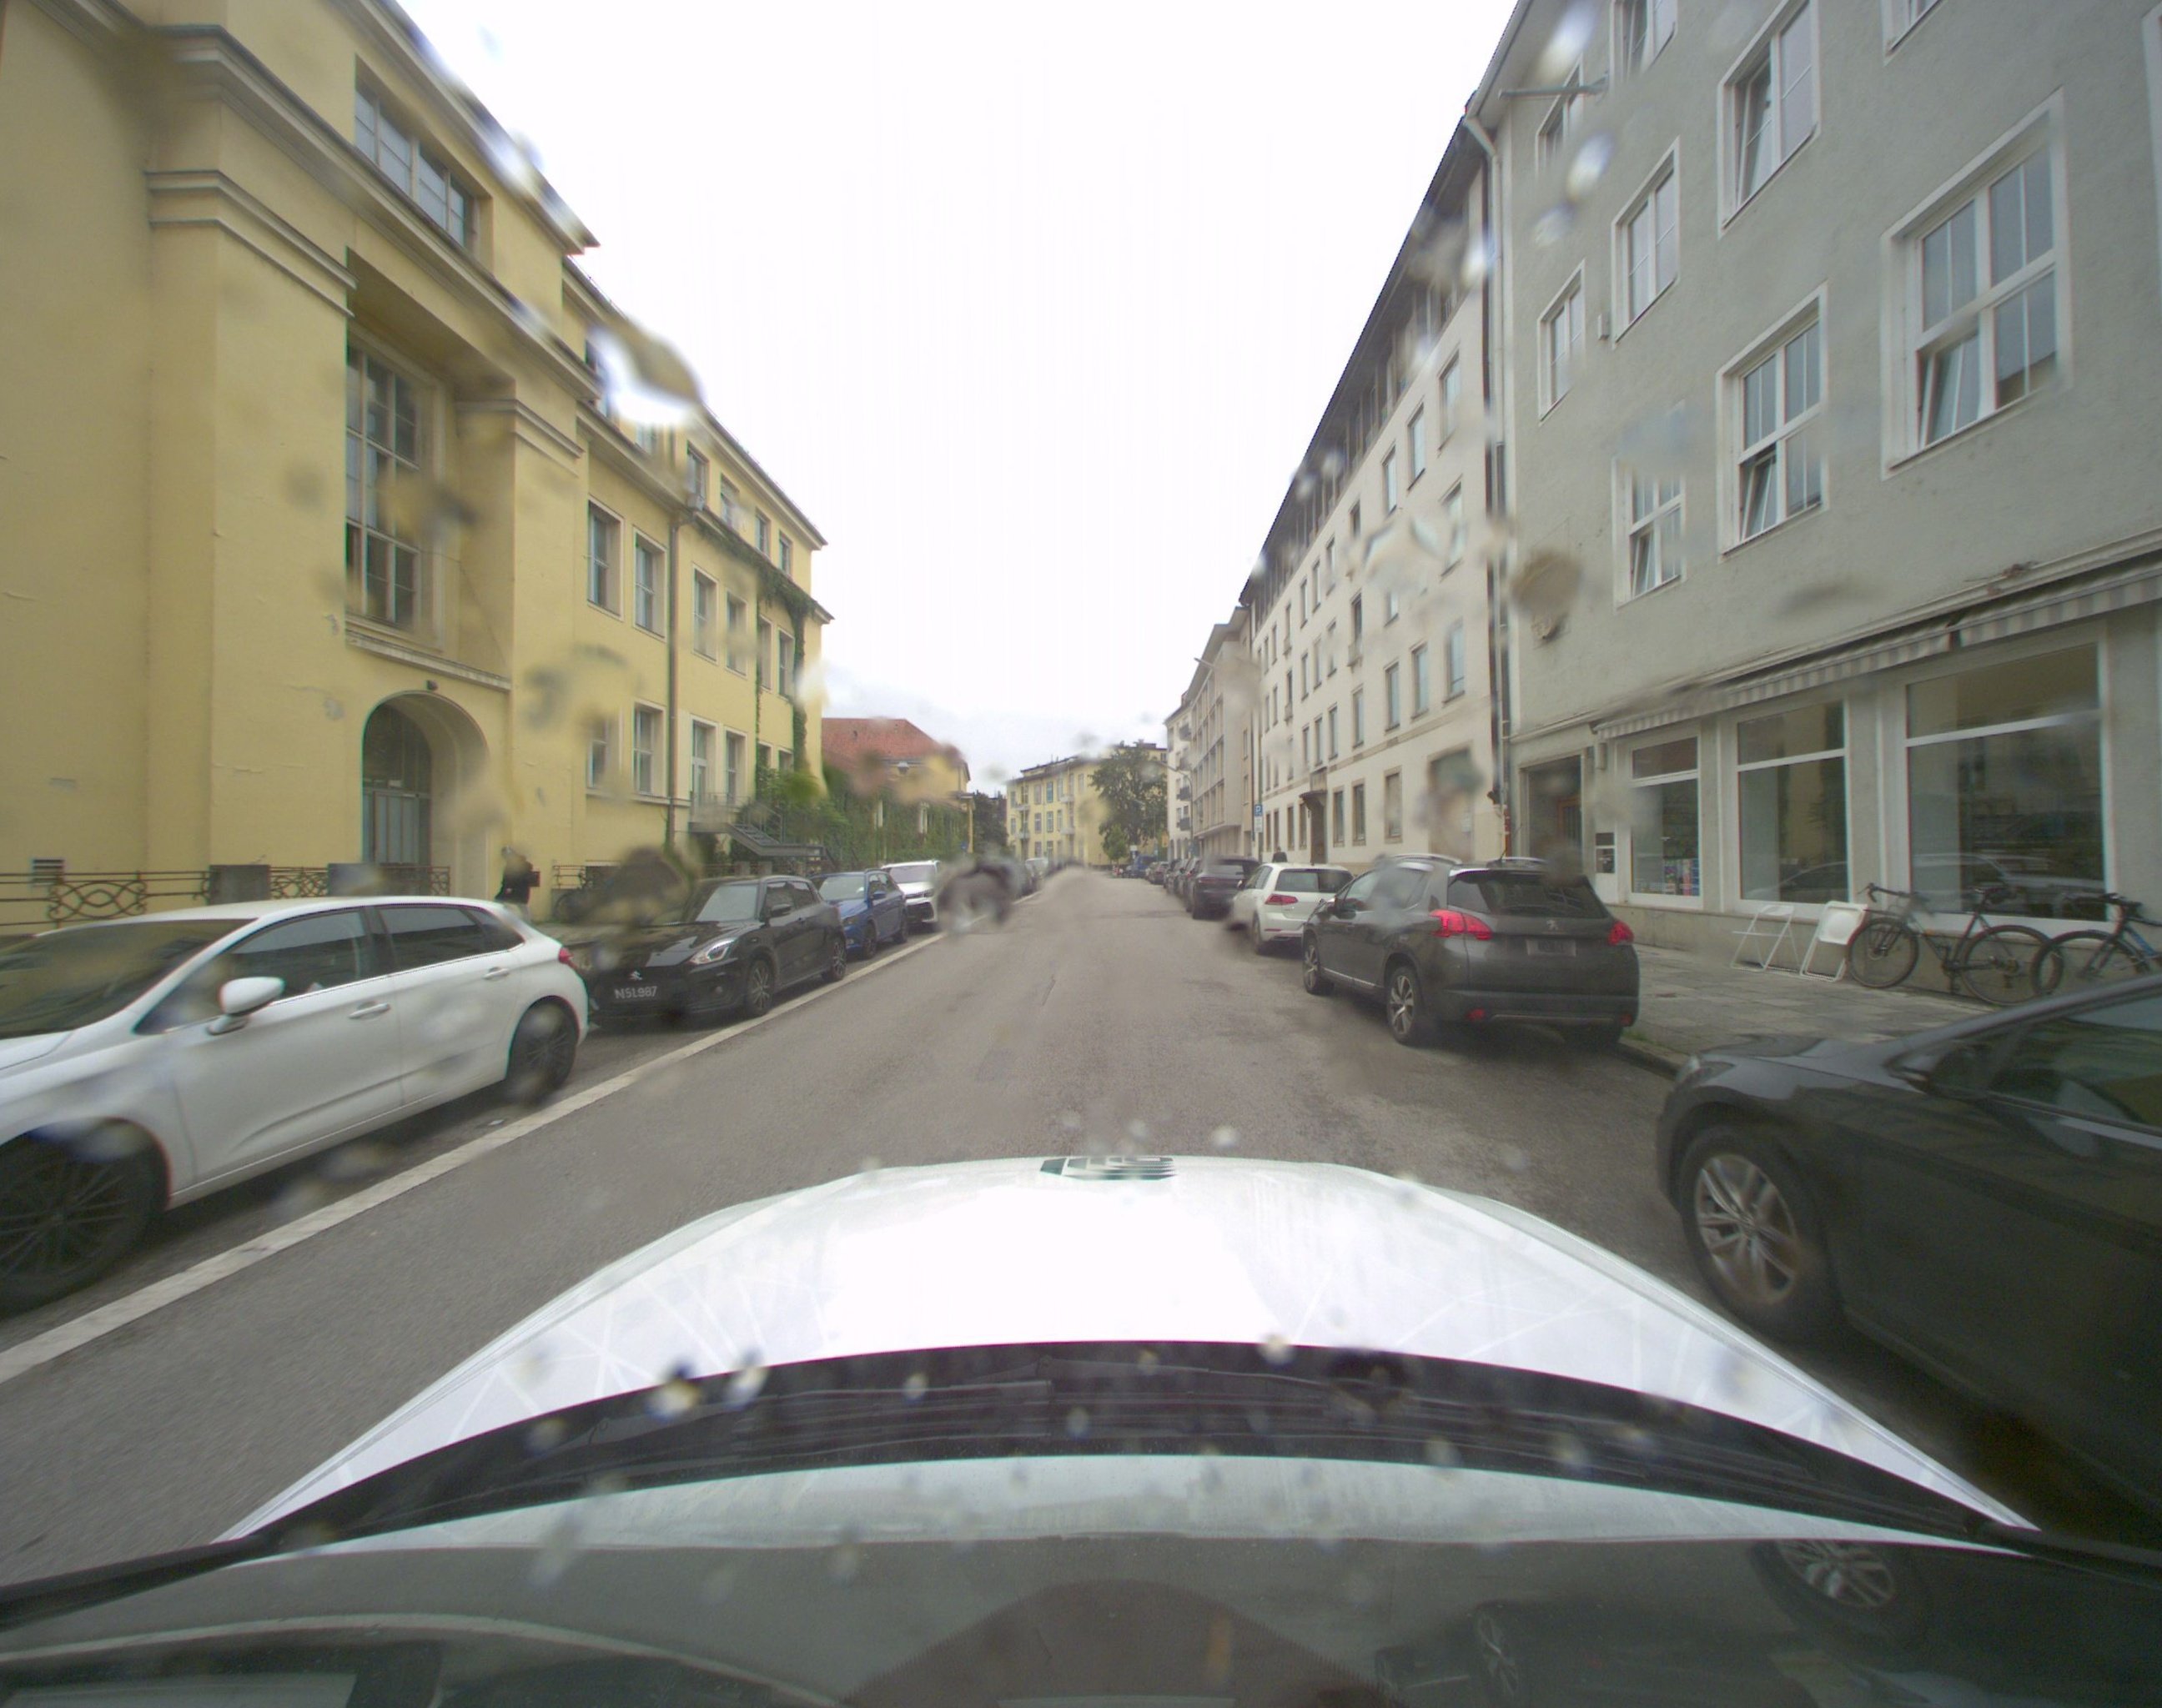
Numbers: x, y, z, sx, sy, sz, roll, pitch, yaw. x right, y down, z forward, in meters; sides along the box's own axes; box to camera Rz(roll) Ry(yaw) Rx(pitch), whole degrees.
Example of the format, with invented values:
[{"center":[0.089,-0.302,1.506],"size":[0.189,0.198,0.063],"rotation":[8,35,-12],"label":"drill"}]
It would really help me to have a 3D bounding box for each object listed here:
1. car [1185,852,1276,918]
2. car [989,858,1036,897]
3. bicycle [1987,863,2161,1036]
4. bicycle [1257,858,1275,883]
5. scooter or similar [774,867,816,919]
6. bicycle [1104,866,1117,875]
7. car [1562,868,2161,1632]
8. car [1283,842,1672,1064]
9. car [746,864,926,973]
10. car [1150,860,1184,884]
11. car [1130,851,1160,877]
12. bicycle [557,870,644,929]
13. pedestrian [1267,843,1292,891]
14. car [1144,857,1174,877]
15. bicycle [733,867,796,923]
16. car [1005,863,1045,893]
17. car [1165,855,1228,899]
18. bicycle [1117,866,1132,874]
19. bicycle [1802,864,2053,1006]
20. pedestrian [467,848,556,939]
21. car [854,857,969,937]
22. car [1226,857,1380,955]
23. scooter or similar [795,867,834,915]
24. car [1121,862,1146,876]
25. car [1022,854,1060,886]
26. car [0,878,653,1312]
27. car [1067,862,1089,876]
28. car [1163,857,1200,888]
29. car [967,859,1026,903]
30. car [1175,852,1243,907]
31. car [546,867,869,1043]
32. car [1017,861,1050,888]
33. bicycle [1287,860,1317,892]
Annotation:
[{"center":[3.786,0.751,21.378],"size":[1.831,1.522,4.713],"rotation":[1,-1,4],"label":"car"},{"center":[-3.154,1.077,38.257],"size":[1.718,1.629,4.466],"rotation":[-3,-1,1],"label":"car"},{"center":[7.580,0.653,5.744],"size":[0.394,1.176,1.816],"rotation":[0,-1,2],"label":"bicycle"},{"center":[9.200,0.823,40.594],"size":[0.527,1.218,2.105],"rotation":[0,-1,3],"label":"bicycle"},{"center":[-7.923,1.058,22.608],"size":[0.558,1.369,1.502],"rotation":[-1,-1,3],"label":"scooter or similar"},{"center":[4.298,2.362,117.348],"size":[1.903,1.201,0.599],"rotation":[-1,-1,39],"label":"bicycle"},{"center":[2.843,0.744,1.404],"size":[1.680,1.402,4.368],"rotation":[0,-1,4],"label":"car"},{"center":[3.415,0.721,8.060],"size":[1.701,1.592,4.360],"rotation":[1,0,-1],"label":"car"},{"center":[-4.213,1.024,14.816],"size":[1.697,1.502,4.495],"rotation":[-6,-1,1],"label":"car"},{"center":[5.533,1.139,52.771],"size":[1.739,1.388,4.953],"rotation":[1,-1,0],"label":"car"},{"center":[6.222,0.982,79.778],"size":[2.075,2.234,5.236],"rotation":[3,-3,-4],"label":"car"},{"center":[-10.785,1.020,18.301],"size":[1.619,1.268,0.527],"rotation":[-1,-1,3],"label":"bicycle"},{"center":[7.458,0.490,30.615],"size":[0.720,1.763,0.905],"rotation":[0,-2,3],"label":"pedestrian"},{"center":[6.488,1.084,68.067],"size":[1.781,1.533,4.642],"rotation":[2,-1,-3],"label":"car"},{"center":[-7.960,1.010,20.591],"size":[0.678,1.328,2.114],"rotation":[0,-1,3],"label":"bicycle"},{"center":[-2.931,1.244,43.328],"size":[1.598,1.430,4.252],"rotation":[-4,-1,1],"label":"car"},{"center":[4.392,0.850,31.687],"size":[1.795,1.484,5.321],"rotation":[2,-1,2],"label":"car"},{"center":[6.204,2.250,116.090],"size":[1.907,1.201,0.598],"rotation":[-1,-1,15],"label":"bicycle"},{"center":[7.882,0.683,7.731],"size":[0.383,1.158,1.950],"rotation":[-1,0,2],"label":"bicycle"},{"center":[-11.237,0.765,16.095],"size":[0.894,1.719,1.063],"rotation":[-2,0,18],"label":"pedestrian"},{"center":[-3.945,0.942,19.781],"size":[1.740,1.634,4.855],"rotation":[-2,-1,0],"label":"car"},{"center":[3.666,0.788,14.254],"size":[1.666,1.429,4.533],"rotation":[1,-1,3],"label":"car"},{"center":[-7.889,1.078,24.160],"size":[0.558,1.369,1.502],"rotation":[-1,-1,3],"label":"scooter or similar"},{"center":[5.516,1.614,85.939],"size":[1.677,1.389,4.290],"rotation":[3,-2,-10],"label":"car"},{"center":[-2.608,1.045,53.889],"size":[1.879,1.889,4.778],"rotation":[-4,-1,3],"label":"car"},{"center":[-4.617,0.984,4.477],"size":[1.778,1.431,4.654],"rotation":[-6,-1,2],"label":"car"},{"center":[-0.462,2.190,116.536],"size":[1.768,1.874,4.350],"rotation":[4,-2,-19],"label":"car"},{"center":[5.144,0.943,41.979],"size":[1.643,1.495,2.883],"rotation":[2,-1,3],"label":"car"},{"center":[-3.377,1.048,33.403],"size":[1.783,1.586,4.818],"rotation":[-4,-1,1],"label":"car"},{"center":[4.065,0.785,26.438],"size":[1.638,1.589,4.637],"rotation":[2,-1,3],"label":"car"},{"center":[-4.043,0.984,9.698],"size":[1.693,1.497,4.151],"rotation":[-5,-1,2],"label":"car"},{"center":[-2.770,1.179,48.583],"size":[1.585,1.441,4.019],"rotation":[-3,-1,1],"label":"car"},{"center":[8.826,0.846,32.537],"size":[0.511,1.222,1.985],"rotation":[-1,0,-4],"label":"bicycle"}]
